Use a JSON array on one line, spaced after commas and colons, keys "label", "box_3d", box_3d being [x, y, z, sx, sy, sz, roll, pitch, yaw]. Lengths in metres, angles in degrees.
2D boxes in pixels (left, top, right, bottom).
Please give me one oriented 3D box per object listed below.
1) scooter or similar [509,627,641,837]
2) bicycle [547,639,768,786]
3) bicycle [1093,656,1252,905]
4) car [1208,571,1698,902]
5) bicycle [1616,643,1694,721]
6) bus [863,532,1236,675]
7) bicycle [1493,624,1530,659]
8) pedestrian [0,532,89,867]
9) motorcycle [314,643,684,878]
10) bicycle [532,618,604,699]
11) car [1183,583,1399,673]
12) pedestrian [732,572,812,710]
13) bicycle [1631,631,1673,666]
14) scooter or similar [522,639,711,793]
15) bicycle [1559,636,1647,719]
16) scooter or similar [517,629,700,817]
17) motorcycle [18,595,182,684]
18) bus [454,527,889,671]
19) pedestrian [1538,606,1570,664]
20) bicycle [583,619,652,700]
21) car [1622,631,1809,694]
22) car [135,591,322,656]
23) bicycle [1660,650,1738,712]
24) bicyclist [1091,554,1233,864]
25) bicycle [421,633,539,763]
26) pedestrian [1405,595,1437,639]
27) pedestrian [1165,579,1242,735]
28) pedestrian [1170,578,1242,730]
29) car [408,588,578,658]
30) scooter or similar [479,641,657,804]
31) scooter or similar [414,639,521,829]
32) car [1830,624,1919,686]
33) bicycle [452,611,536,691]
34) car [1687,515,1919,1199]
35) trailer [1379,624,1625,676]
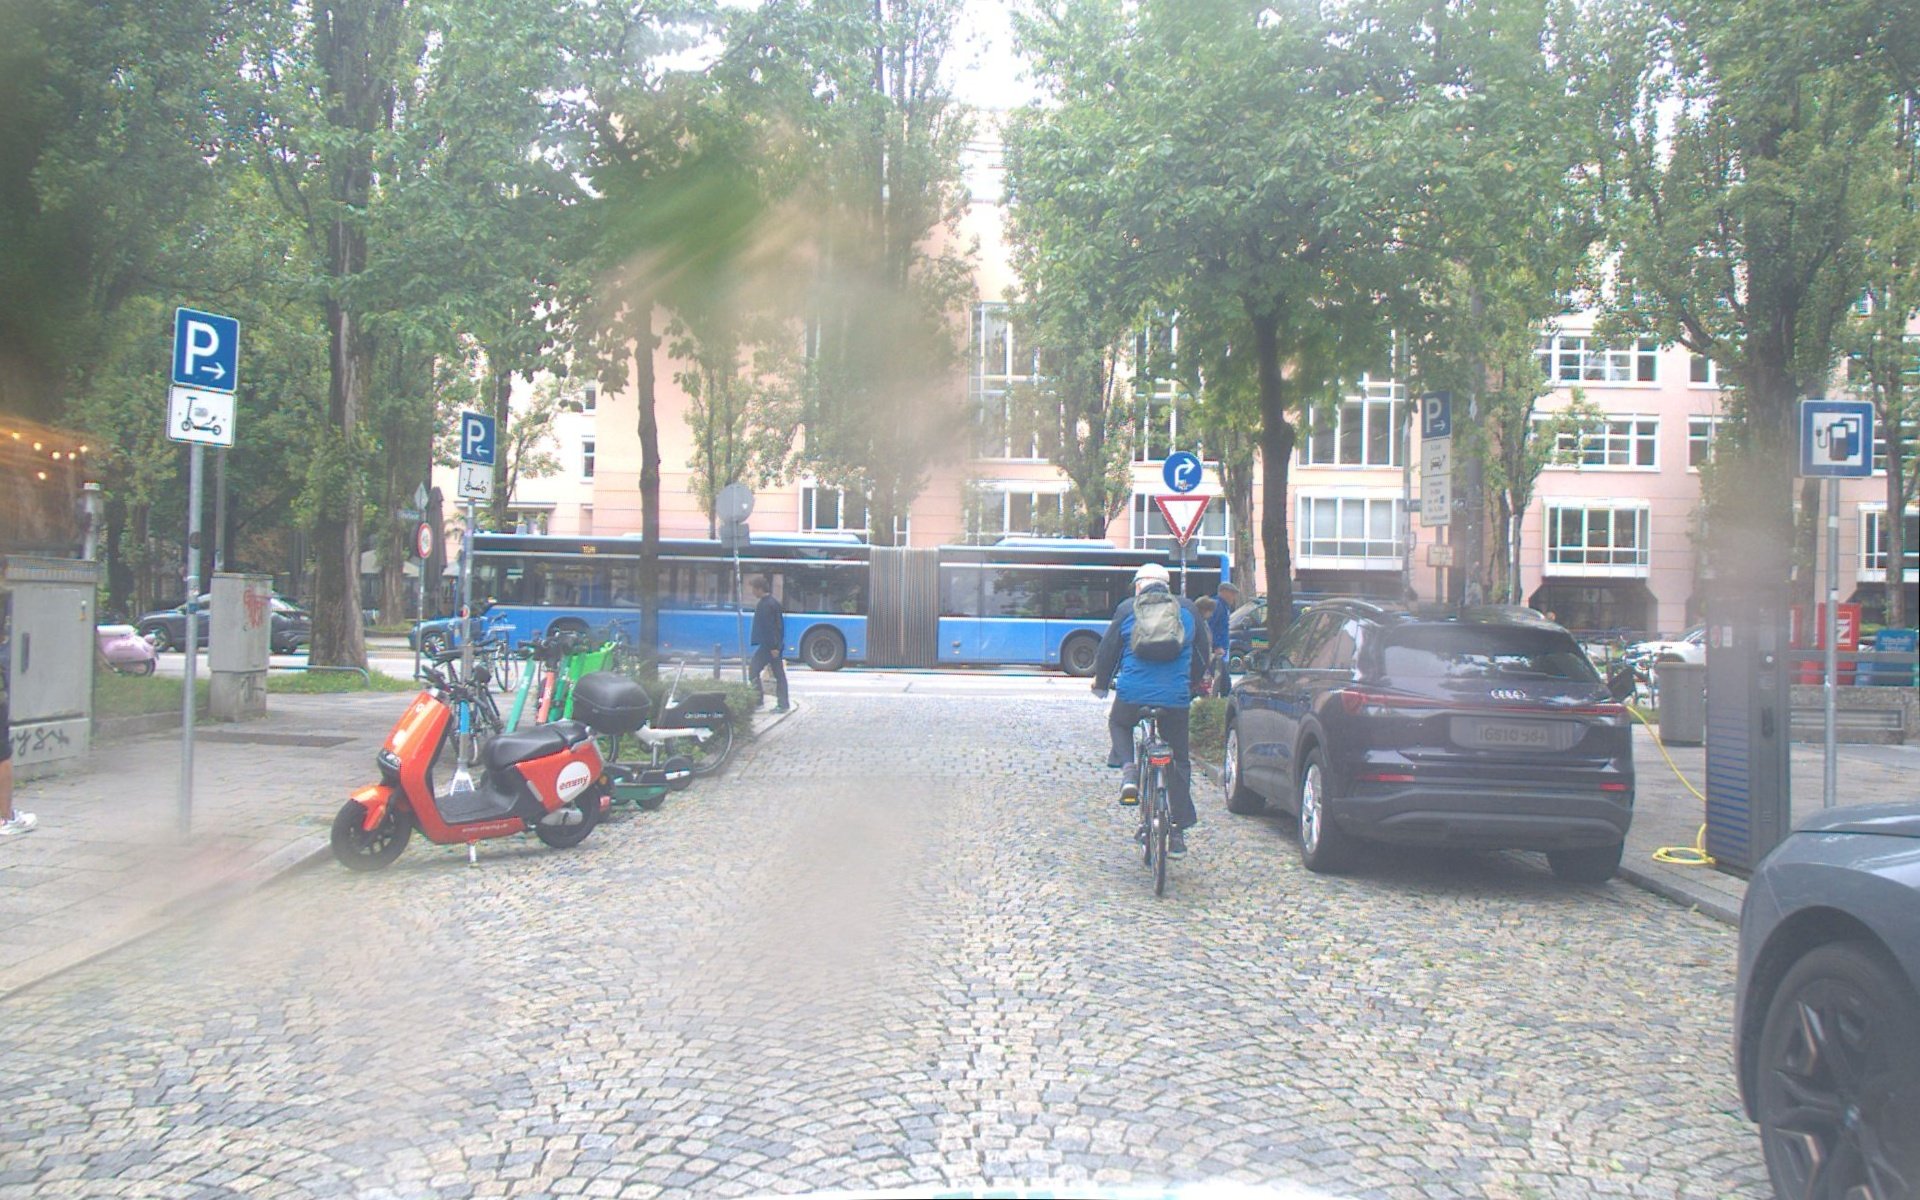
[{"label": "scooter or similar", "box_3d": [-2.542, 0.836, 11.030, 0.319, 1.295, 1.359, 1, 0, 10]}, {"label": "bicycle", "box_3d": [-2.535, 0.920, 13.941, 1.739, 1.163, 0.548, 1, 0, -31]}, {"label": "bicycle", "box_3d": [1.148, 0.943, 9.300, 0.702, 1.168, 1.901, 1, 0, 2]}, {"label": "car", "box_3d": [2.982, 0.745, 11.029, 1.882, 1.730, 4.200, 2, 0, -2]}, {"label": "bicycle", "box_3d": [9.973, 1.157, 23.779, 0.501, 1.056, 1.834, 1, -1, 5]}, {"label": "bus", "box_3d": [2.010, 0.088, 38.486, 8.315, 3.105, 2.927, 1, 0, 0]}, {"label": "bicycle", "box_3d": [19.175, 1.426, 57.504, 0.660, 1.144, 1.989, 1, 0, 1]}, {"label": "pedestrian", "box_3d": [-5.486, 0.518, 9.274, 0.735, 1.803, 0.705, 3, 0, -1]}, {"label": "motorcycle", "box_3d": [-2.667, 0.877, 9.736, 1.975, 1.217, 0.759, 1, -1, -44]}, {"label": "bicycle", "box_3d": [-5.715, 0.835, 24.167, 0.480, 1.112, 1.704, 1, 0, 5]}, {"label": "car", "box_3d": [8.775, 0.727, 44.181, 5.366, 2.235, 2.024, 1, 0, 0]}, {"label": "pedestrian", "box_3d": [-2.407, 0.518, 21.294, 0.936, 1.741, 0.858, 0, 0, -2]}, {"label": "bicycle", "box_3d": [23.979, 1.661, 57.329, 0.660, 1.144, 1.989, 1, 0, 1]}, {"label": "scooter or similar", "box_3d": [-2.724, 0.907, 13.140, 1.407, 1.164, 0.367, 1, 0, -24]}, {"label": "bicycle", "box_3d": [9.225, 1.084, 23.791, 0.501, 1.124, 1.930, 1, -1, 0]}, {"label": "scooter or similar", "box_3d": [-2.524, 0.870, 11.930, 1.234, 1.295, 0.324, 1, -1, -31]}, {"label": "motorcycle", "box_3d": [-12.261, 0.552, 23.624, 1.975, 1.217, 0.619, 1, 0, -44]}, {"label": "bus", "box_3d": [-6.494, -0.010, 38.398, 9.565, 3.105, 2.926, 1, 0, -1]}, {"label": "pedestrian", "box_3d": [18.246, 1.062, 50.806, 0.714, 1.743, 0.709, 1, -1, 1]}, {"label": "bicycle", "box_3d": [-4.951, 0.847, 24.002, 0.480, 1.112, 1.704, 1, 0, 5]}, {"label": "car", "box_3d": [19.934, 1.638, 43.783, 4.132, 1.569, 1.807, 1, -2, 2]}, {"label": "car", "box_3d": [-19.398, 0.611, 43.979, 4.136, 1.629, 1.793, 1, 0, 0]}, {"label": "bicycle", "box_3d": [10.671, 1.156, 23.940, 0.460, 0.832, 1.834, 1, -1, 5]}, {"label": "bicyclist", "box_3d": [1.113, 0.584, 9.253, 0.707, 1.647, 0.757, 1, 0, 2]}, {"label": "bicycle", "box_3d": [-4.210, 0.830, 14.613, 0.541, 1.040, 1.762, 1, 0, -1]}, {"label": "pedestrian", "box_3d": [15.127, 0.554, 54.243, 0.699, 1.393, 0.725, 2, -1, -29]}, {"label": "pedestrian", "box_3d": [2.753, 0.628, 18.669, 0.825, 1.709, 0.611, 1, 0, 10]}, {"label": "pedestrian", "box_3d": [2.878, 0.615, 19.316, 0.786, 1.726, 0.664, 1, 0, 10]}, {"label": "car", "box_3d": [-12.405, 0.623, 44.150, 3.982, 1.762, 1.793, 1, -2, -1]}, {"label": "scooter or similar", "box_3d": [-2.922, 0.906, 12.365, 1.221, 1.164, 0.327, 1, 0, 0]}, {"label": "scooter or similar", "box_3d": [-3.401, 0.889, 11.384, 0.385, 1.200, 1.238, 1, 0, -31]}, {"label": "car", "box_3d": [25.876, 1.473, 44.180, 4.223, 1.569, 1.999, 1, 0, -1]}, {"label": "bicycle", "box_3d": [-6.783, 0.722, 24.148, 0.480, 1.112, 1.985, 1, 0, 5]}, {"label": "car", "box_3d": [3.033, 0.713, 2.167, 1.972, 1.730, 4.671, 2, 0, -2]}, {"label": "trailer", "box_3d": [14.333, 1.309, 44.048, 5.787, 1.220, 2.405, 1, 0, 1]}]
